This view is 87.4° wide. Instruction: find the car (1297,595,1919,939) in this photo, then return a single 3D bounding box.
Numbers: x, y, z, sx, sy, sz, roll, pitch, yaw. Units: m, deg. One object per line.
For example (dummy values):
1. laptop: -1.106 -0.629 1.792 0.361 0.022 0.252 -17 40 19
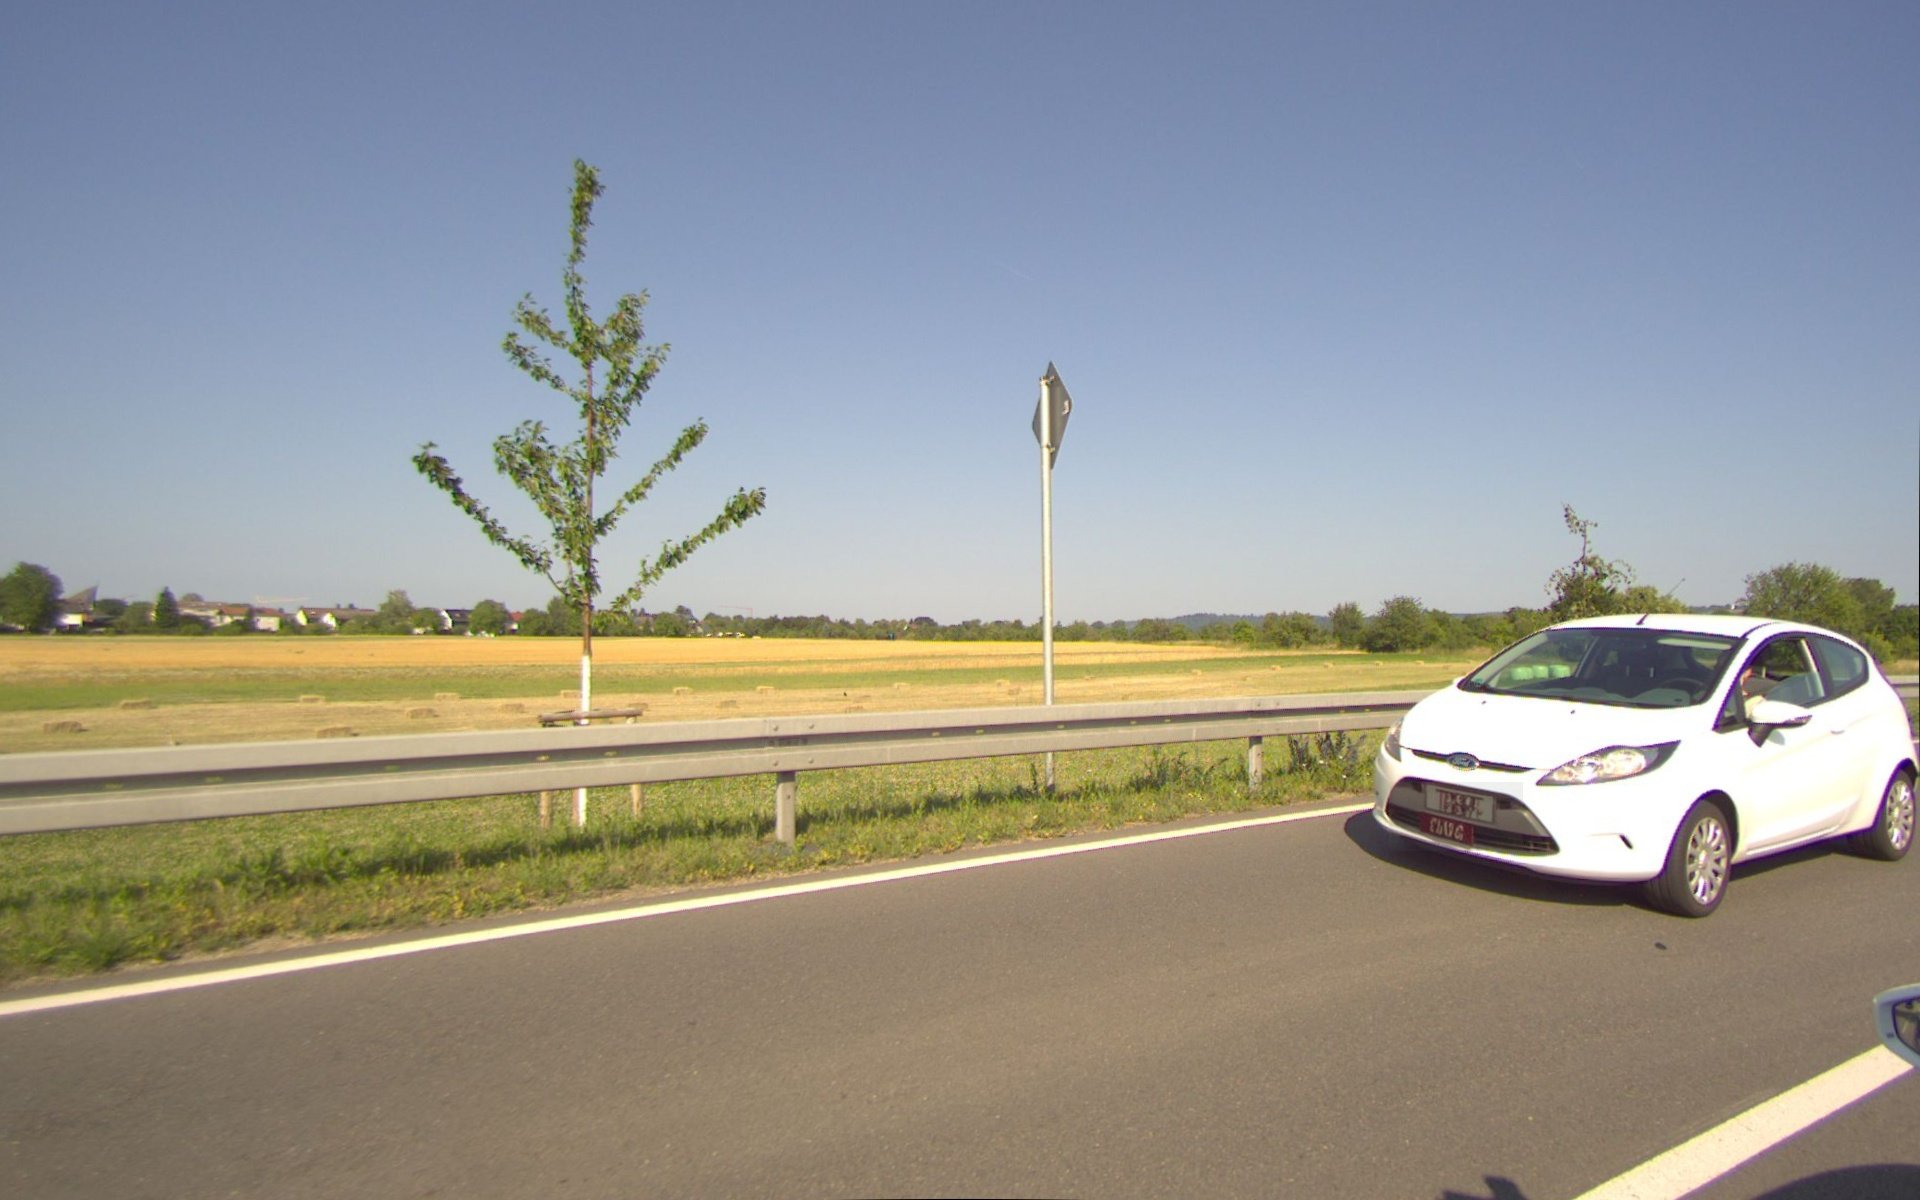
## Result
1. car: 4.237 0.781 6.176 4.105 1.468 1.844 2 0 -30
